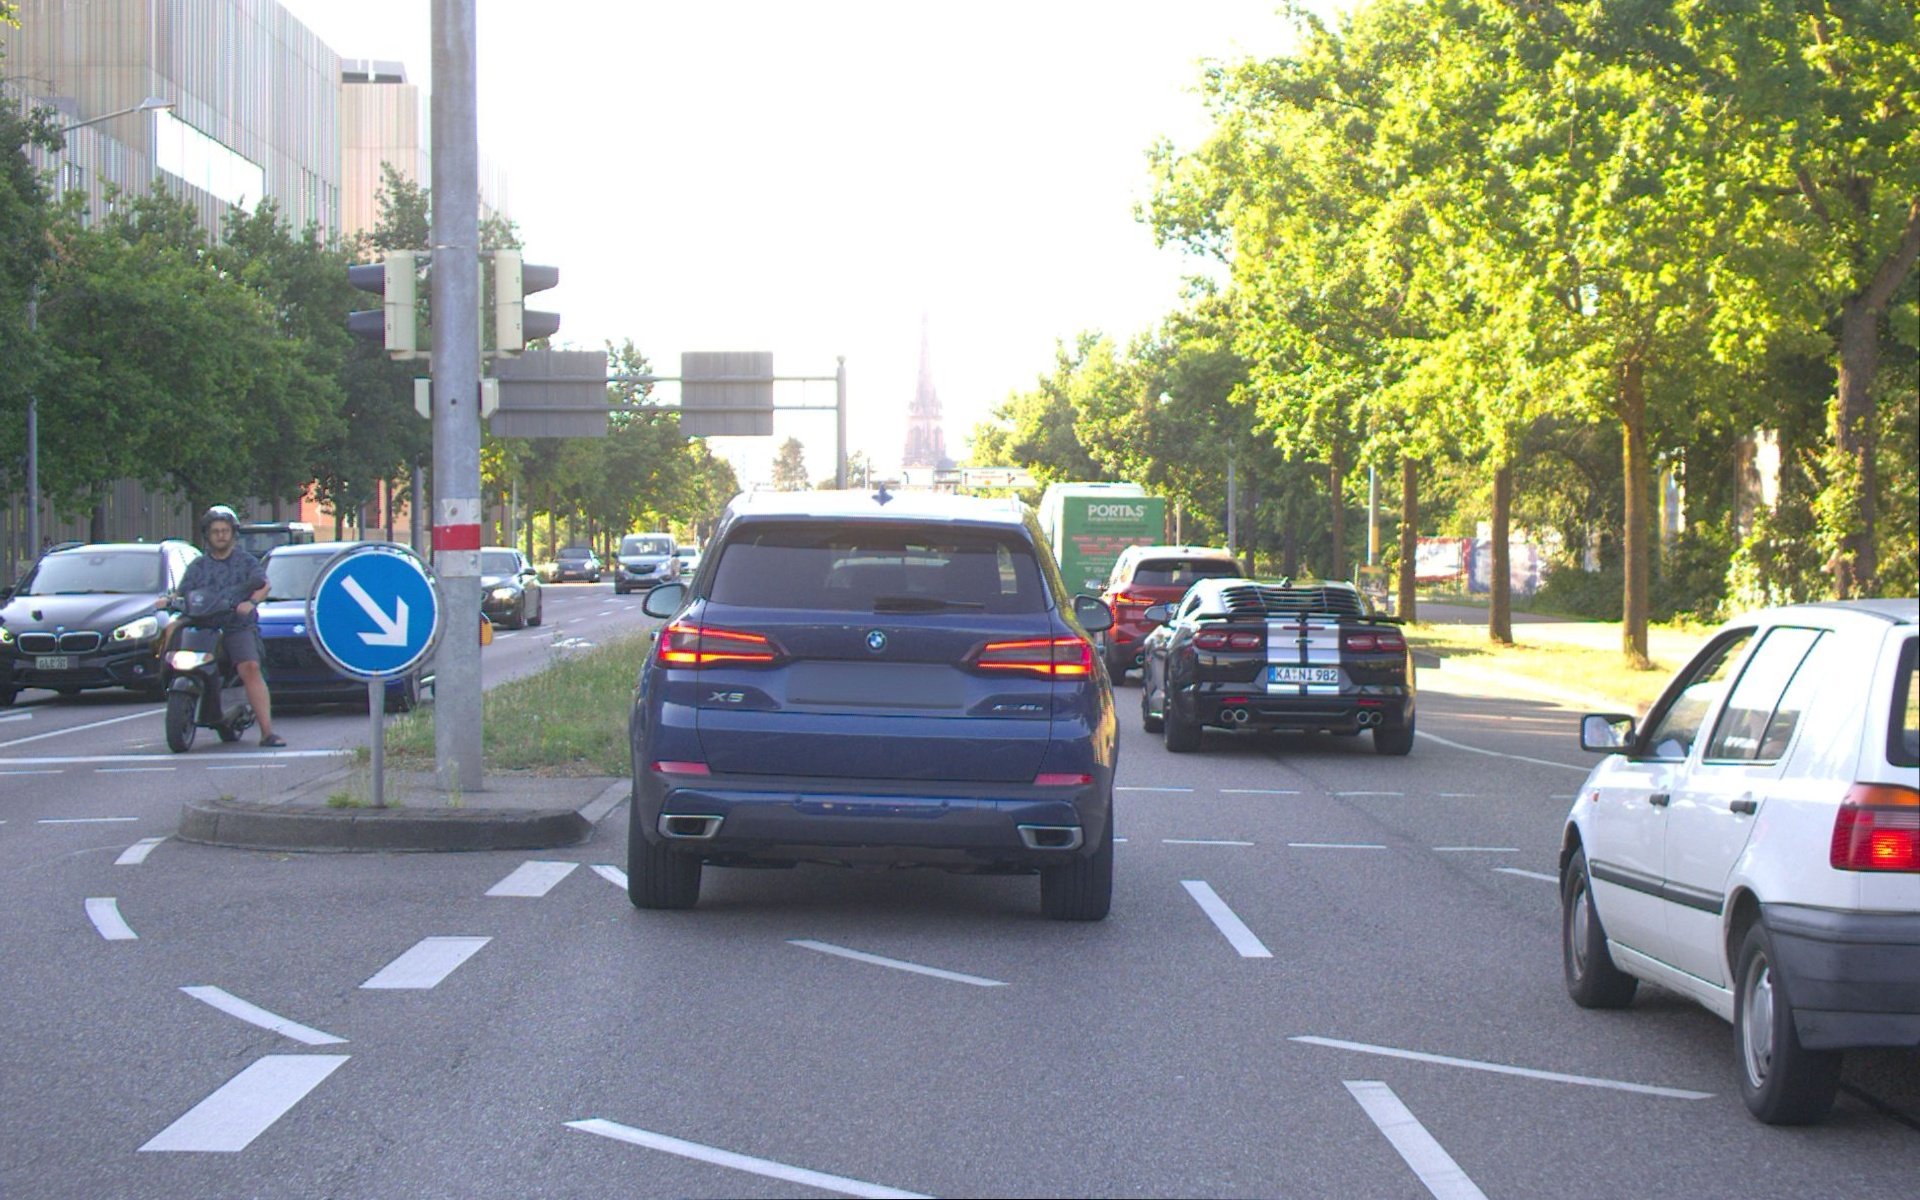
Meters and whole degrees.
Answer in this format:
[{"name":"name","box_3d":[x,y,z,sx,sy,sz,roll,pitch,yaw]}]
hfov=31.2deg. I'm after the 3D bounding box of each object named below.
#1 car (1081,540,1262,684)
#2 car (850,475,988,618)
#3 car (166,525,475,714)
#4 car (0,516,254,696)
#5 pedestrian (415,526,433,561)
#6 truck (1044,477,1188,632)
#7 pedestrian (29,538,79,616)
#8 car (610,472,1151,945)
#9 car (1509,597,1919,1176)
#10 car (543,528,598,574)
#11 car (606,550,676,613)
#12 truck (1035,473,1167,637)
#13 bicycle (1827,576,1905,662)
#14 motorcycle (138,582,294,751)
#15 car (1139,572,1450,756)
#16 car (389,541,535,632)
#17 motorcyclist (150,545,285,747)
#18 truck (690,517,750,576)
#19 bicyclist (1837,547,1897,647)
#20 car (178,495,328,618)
[{"name":"car","box_3d":[2.436,0.133,40.417,1.796,1.553,4.000,2,0,-1]},{"name":"car","box_3d":[-0.838,-0.986,65.506,2.136,2.567,5.088,2,0,-5]},{"name":"car","box_3d":[-5.475,0.151,29.896,1.702,1.447,3.857,-3,0,3]},{"name":"car","box_3d":[-8.498,0.064,34.294,1.993,1.586,4.715,-3,0,-2]},{"name":"pedestrian","box_3d":[-23.950,-2.522,153.679,0.627,1.516,0.718,2,0,2]},{"name":"truck","box_3d":[2.431,-0.695,54.387,1.996,2.307,4.000,2,0,-1]},{"name":"pedestrian","box_3d":[-23.929,-0.598,90.804,1.018,2.007,0.961,2,0,0]},{"name":"car","box_3d":[-0.321,0.410,15.238,1.993,1.728,4.533,2,0,-1]},{"name":"car","box_3d":[2.850,0.720,10.452,1.578,1.408,4.062,2,0,-1]},{"name":"car","box_3d":[-15.983,-1.994,141.165,1.756,1.699,4.494,-3,0,-2]},{"name":"car","box_3d":[-9.744,-0.562,105.168,1.756,1.771,4.494,-3,0,-2]},{"name":"truck","box_3d":[2.386,-0.752,59.085,1.996,2.659,4.000,2,0,-1]},{"name":"bicycle","box_3d":[12.080,0.254,45.857,0.564,1.108,1.622,2,0,-1]},{"name":"motorcycle","box_3d":[-5.235,0.438,24.327,0.839,1.072,2.402,-2,1,-7]},{"name":"car","box_3d":[2.555,0.471,27.173,1.993,1.290,4.000,2,0,-1]},{"name":"car","box_3d":[-8.884,-0.232,61.683,1.993,1.447,4.799,-4,0,-2]},{"name":"motorcyclist","box_3d":[-5.244,0.309,24.347,0.797,1.345,1.275,-1,2,-7]},{"name":"truck","box_3d":[-17.659,-3.920,253.297,3.988,4.074,11.449,2,0,-3]},{"name":"bicyclist","box_3d":[12.085,-0.036,45.823,0.543,1.311,0.835,2,0,-1]},{"name":"car","box_3d":[-12.242,-0.791,59.758,1.794,1.972,3.995,-3,2,-2]}]
